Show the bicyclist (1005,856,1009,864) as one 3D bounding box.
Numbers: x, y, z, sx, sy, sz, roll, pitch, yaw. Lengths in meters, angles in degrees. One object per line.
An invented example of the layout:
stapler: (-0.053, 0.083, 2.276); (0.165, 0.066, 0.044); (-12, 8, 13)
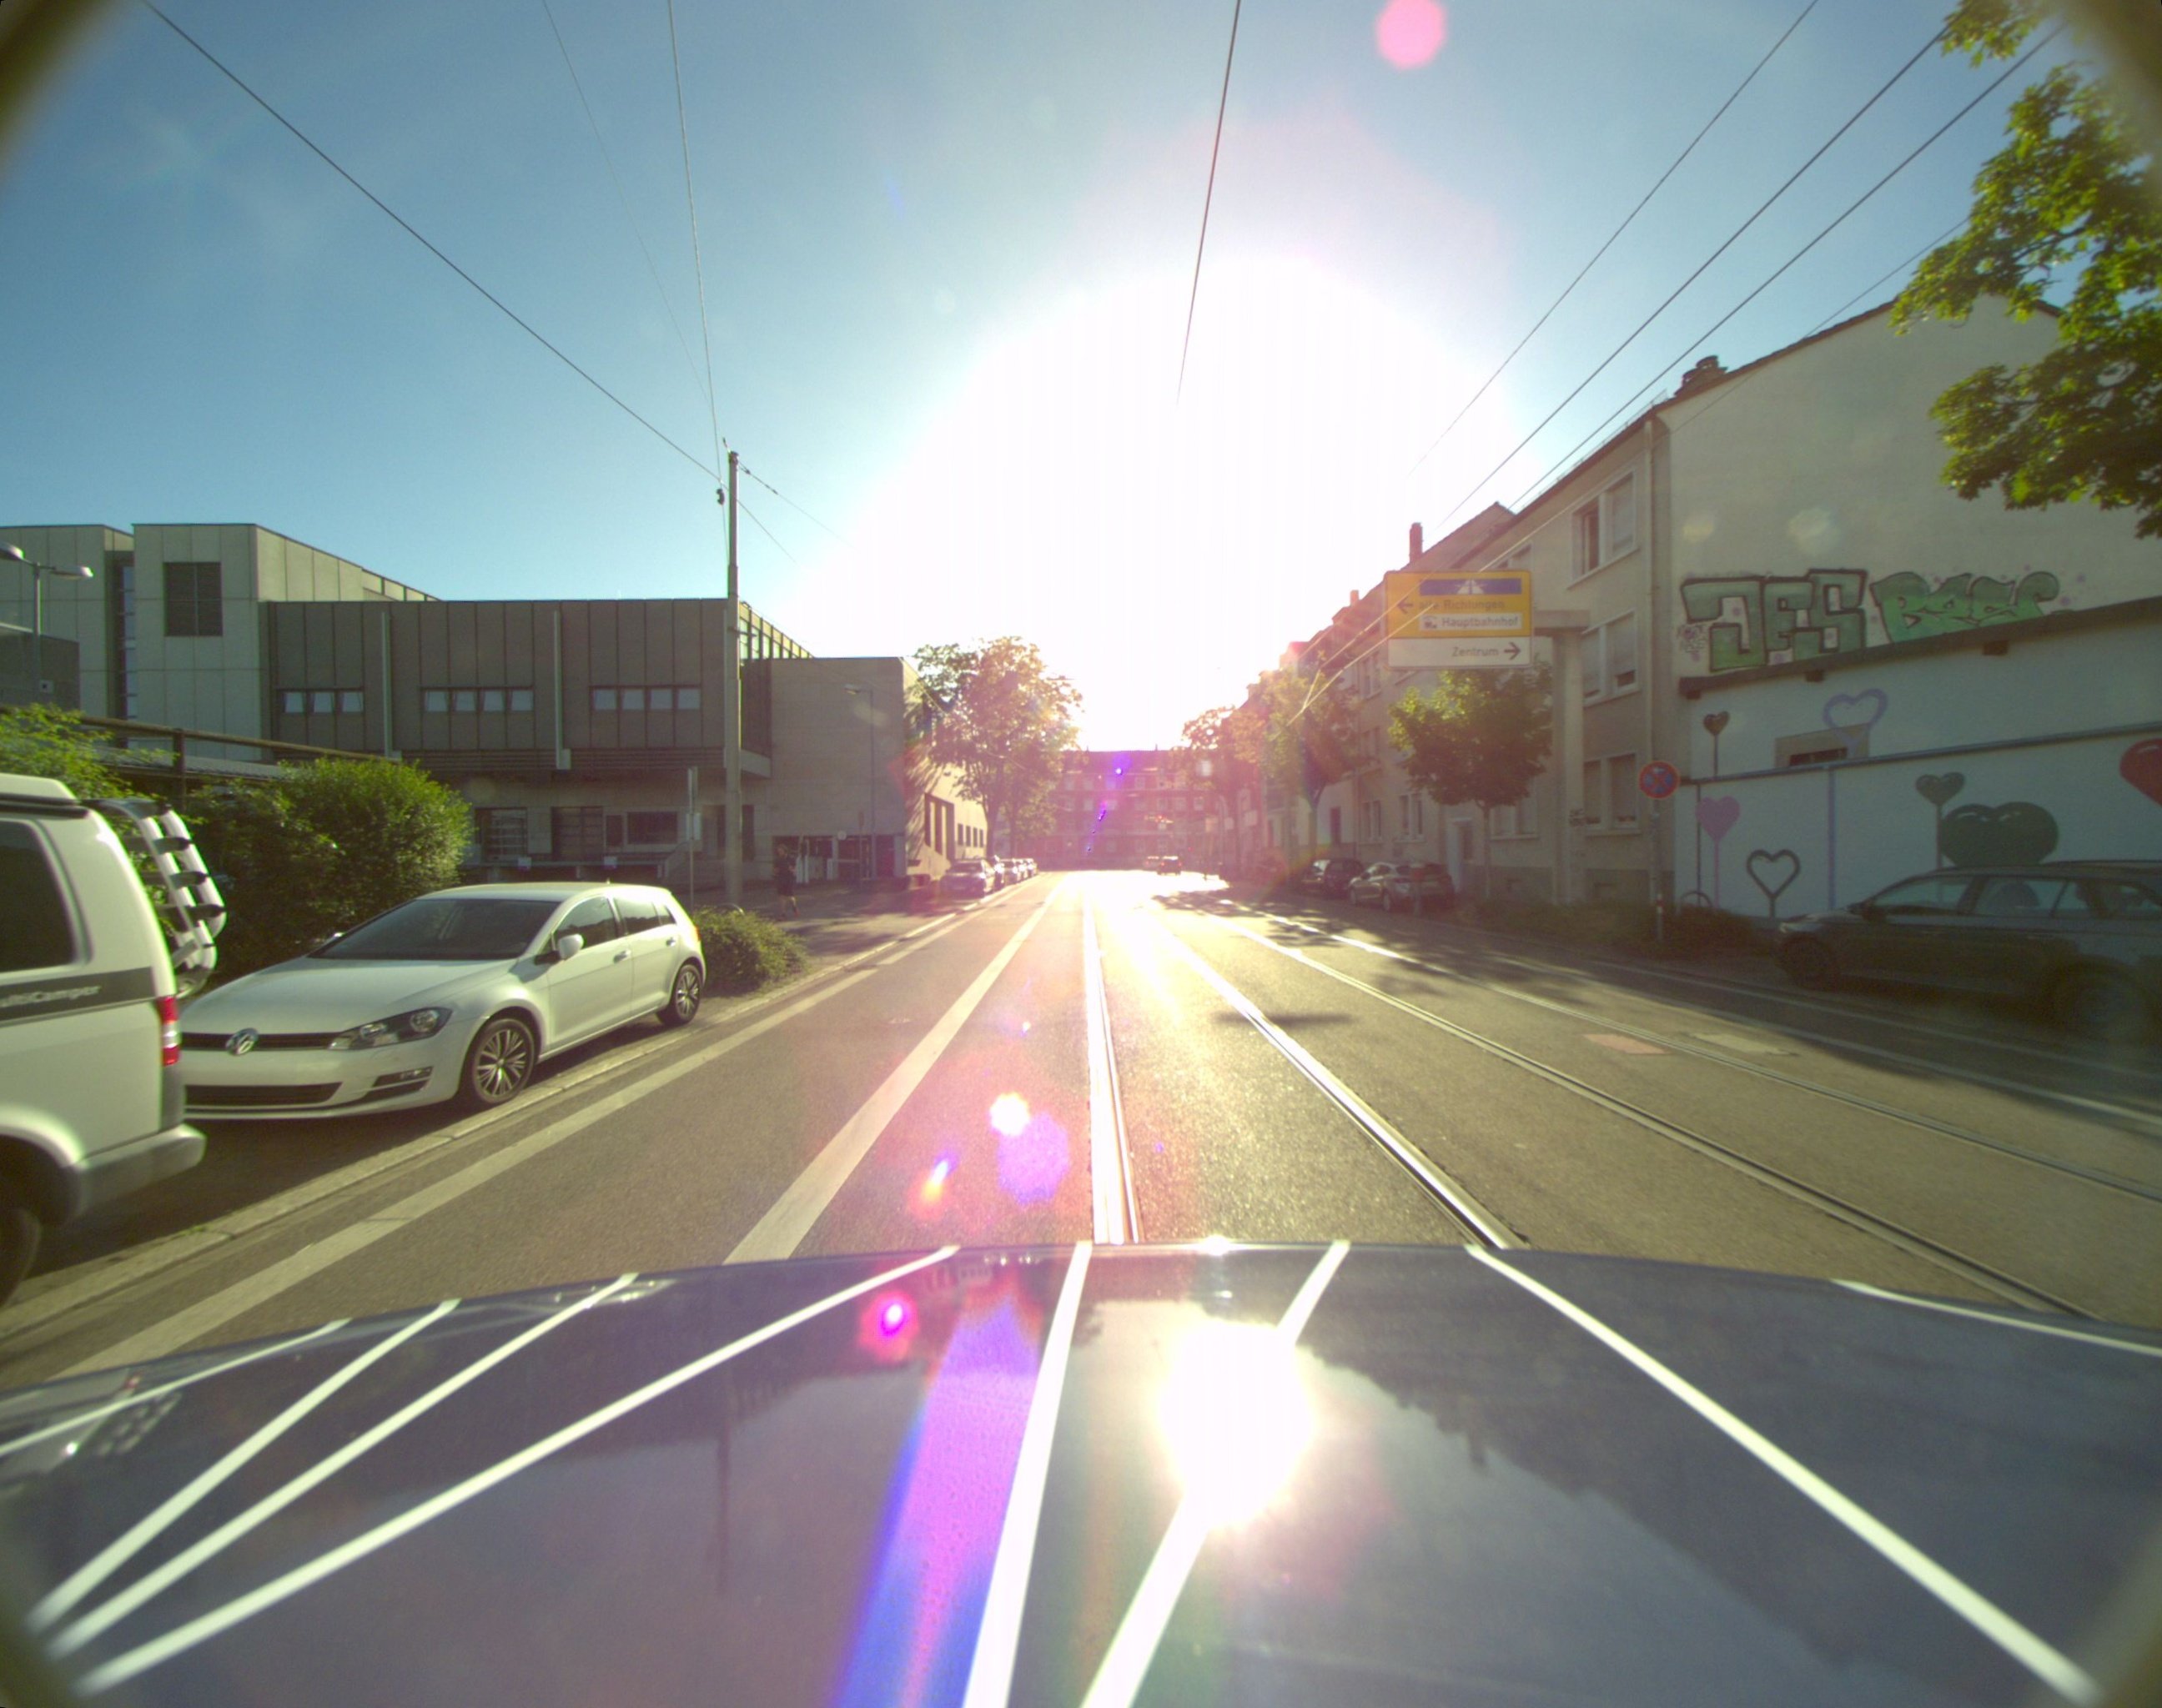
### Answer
bicyclist: (-11.812, 0.916, 121.377); (0.668, 1.217, 0.554); (-2, 1, 0)

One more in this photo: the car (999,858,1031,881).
car: (-4.353, 1.005, 50.715); (1.713, 1.399, 4.328); (1, 1, 0)

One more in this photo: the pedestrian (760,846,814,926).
pedestrian: (-6.933, 0.721, 17.976); (0.672, 1.779, 1.304); (3, 1, 0)

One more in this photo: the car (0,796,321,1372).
car: (-4.710, 0.811, 1.062); (1.858, 1.980, 5.242); (0, 1, 2)

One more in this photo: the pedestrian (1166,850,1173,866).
pedestrian: (9.650, 0.452, 82.592); (0.640, 1.764, 0.583); (-2, 1, 1)

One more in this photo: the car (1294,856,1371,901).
car: (9.355, 0.853, 28.558); (1.576, 1.496, 3.999); (-2, 1, 1)

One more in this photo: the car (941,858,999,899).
car: (-4.547, 0.954, 31.787); (1.707, 1.473, 4.658); (2, 1, 0)

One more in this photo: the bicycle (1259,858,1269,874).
bicycle: (12.189, 0.775, 50.650); (0.303, 1.036, 1.661); (-2, 1, 1)

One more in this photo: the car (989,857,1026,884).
car: (-4.263, 0.931, 44.839); (1.717, 1.481, 4.623); (0, 0, 0)

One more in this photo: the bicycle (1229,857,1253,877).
bicycle: (9.955, 0.811, 47.247); (1.344, 1.163, 0.409); (-2, 1, 1)

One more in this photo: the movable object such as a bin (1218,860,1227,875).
movable object such as a bin: (9.360, 0.883, 50.246); (0.425, 0.930, 0.582); (-2, 1, 1)

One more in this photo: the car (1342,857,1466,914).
car: (9.459, 0.870, 22.644); (1.878, 1.420, 4.292); (-2, 1, 1)

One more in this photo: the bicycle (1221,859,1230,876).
bicycle: (9.292, 0.863, 48.912); (0.303, 1.036, 1.661); (-2, 1, 1)

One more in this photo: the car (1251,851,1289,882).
car: (9.861, 0.674, 39.806); (1.358, 1.493, 2.548); (-2, -2, 1)

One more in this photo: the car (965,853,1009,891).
car: (-4.532, 0.822, 37.281); (1.746, 1.702, 4.276); (-1, 1, -2)

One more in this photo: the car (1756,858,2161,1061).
car: (9.268, 0.832, 7.288); (1.777, 1.477, 4.304); (-2, 1, 0)

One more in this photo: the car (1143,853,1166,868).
car: (7.617, 0.663, 79.045); (1.923, 1.516, 3.999); (-2, 1, 1)

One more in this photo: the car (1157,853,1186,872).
car: (7.350, 0.691, 62.029); (1.770, 1.455, 4.746); (0, 1, -1)

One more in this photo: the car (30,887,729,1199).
car: (-4.763, 1.111, 6.290); (1.680, 1.409, 4.501); (1, 1, -1)
